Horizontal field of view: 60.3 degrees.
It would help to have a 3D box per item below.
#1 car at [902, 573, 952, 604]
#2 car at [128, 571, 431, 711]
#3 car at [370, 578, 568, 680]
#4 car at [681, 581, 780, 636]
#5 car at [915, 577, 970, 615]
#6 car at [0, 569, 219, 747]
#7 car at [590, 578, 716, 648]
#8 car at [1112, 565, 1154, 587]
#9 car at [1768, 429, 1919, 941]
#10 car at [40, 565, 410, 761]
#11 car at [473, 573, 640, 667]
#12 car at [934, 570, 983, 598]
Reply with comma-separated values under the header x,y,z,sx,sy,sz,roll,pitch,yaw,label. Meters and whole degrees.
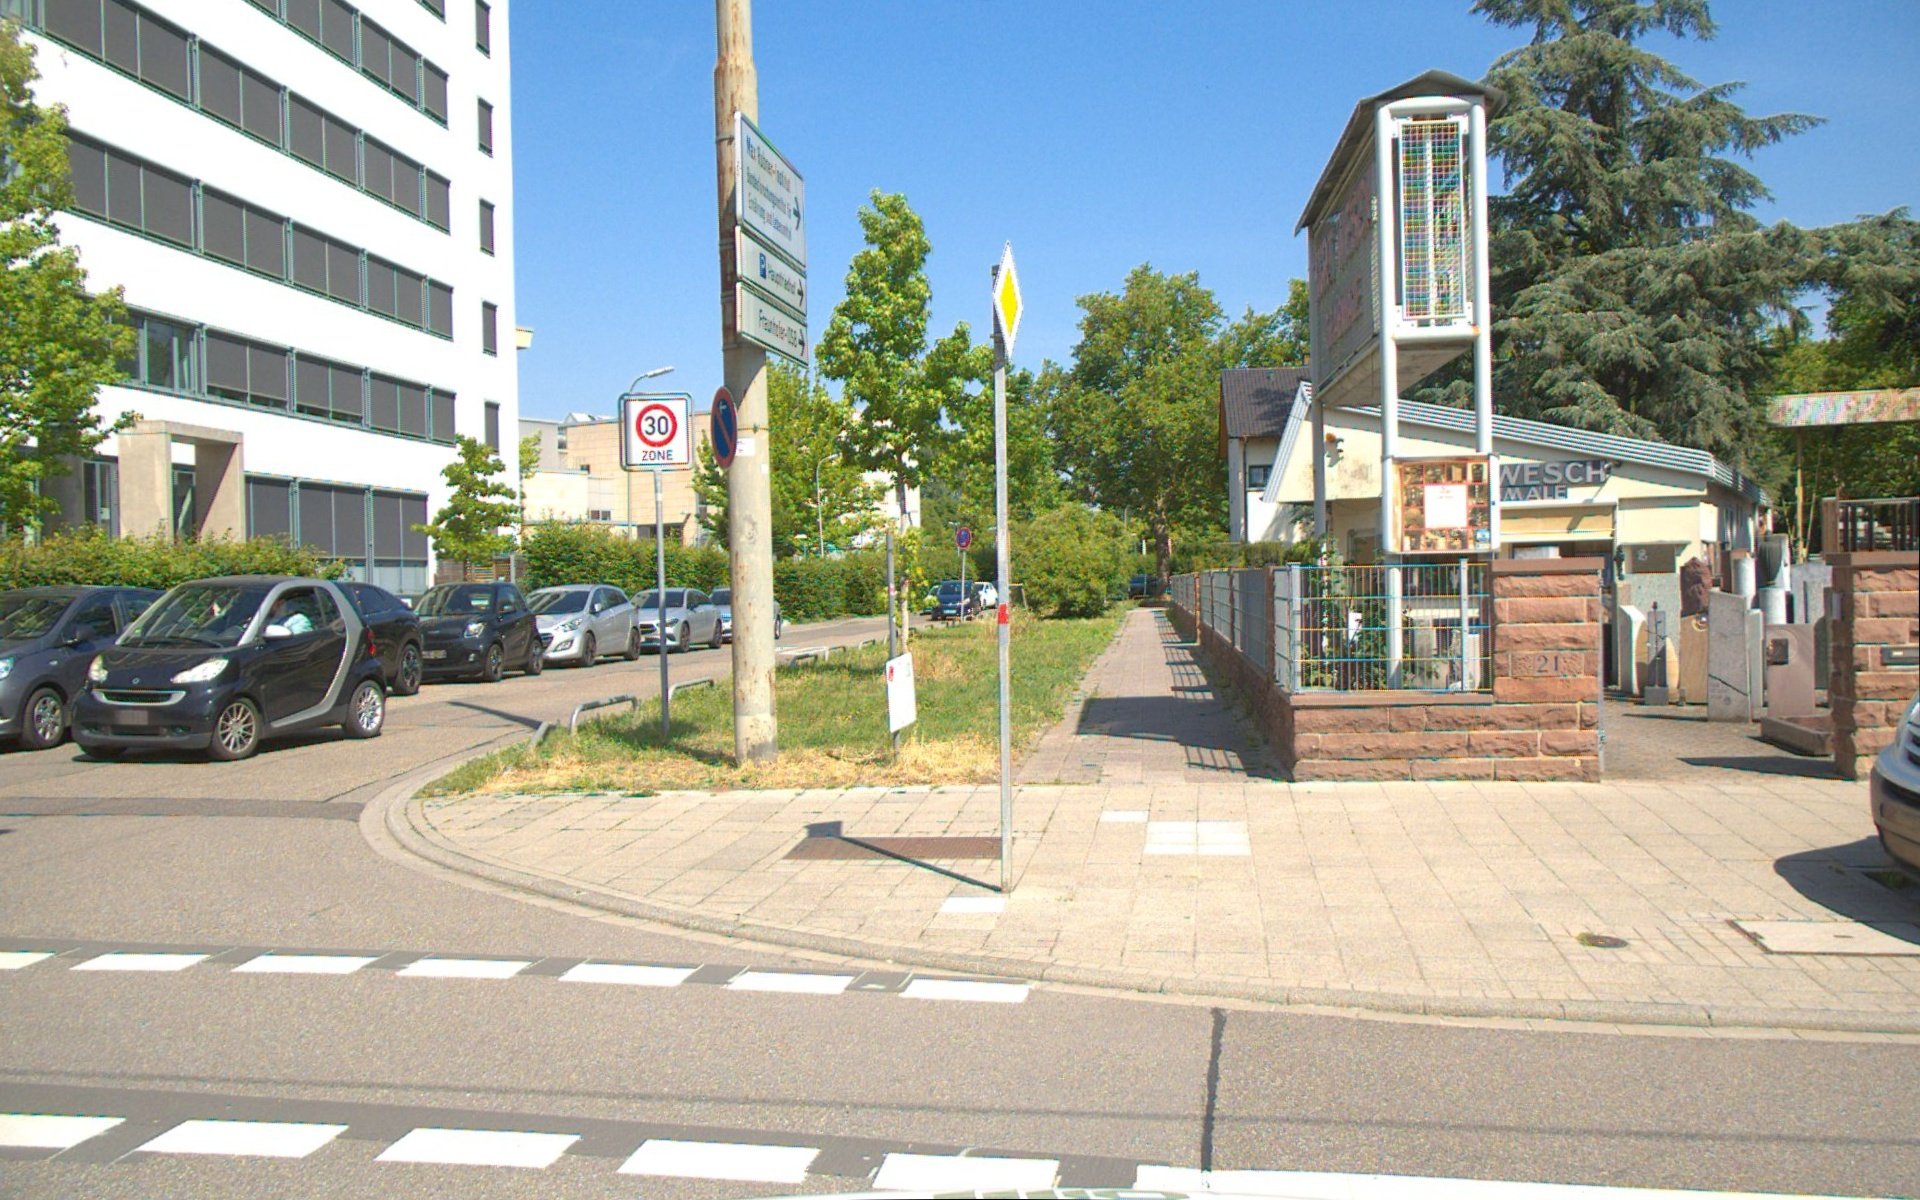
x,y,z,sx,sy,sz,roll,pitch,yaw,label
-1.657,-0.579,83.554,1.888,1.475,3.832,-1,1,8,car
-8.322,0.430,20.686,1.771,1.545,4.172,-1,1,4,car
-7.767,0.406,26.530,1.740,1.469,3.853,-1,1,4,car
-5.960,0.187,43.389,1.771,1.345,3.831,-1,1,4,car
-0.686,-0.190,67.926,1.888,1.475,3.831,-1,1,4,car
-9.054,0.490,16.208,1.663,1.554,3.698,-1,1,4,car
-6.764,0.248,36.822,1.771,1.428,3.831,-1,1,4,car
12.263,-1.713,117.144,1.890,1.475,3.827,-1,1,24,car
6.285,0.276,6.920,4.788,2.048,2.093,-1,1,7,car
-6.560,0.495,15.076,1.443,1.565,2.978,-1,1,17,car
-7.403,0.313,30.764,1.771,1.531,4.048,-2,2,5,car
-0.063,-0.904,90.358,1.888,1.475,3.832,-1,1,12,car
